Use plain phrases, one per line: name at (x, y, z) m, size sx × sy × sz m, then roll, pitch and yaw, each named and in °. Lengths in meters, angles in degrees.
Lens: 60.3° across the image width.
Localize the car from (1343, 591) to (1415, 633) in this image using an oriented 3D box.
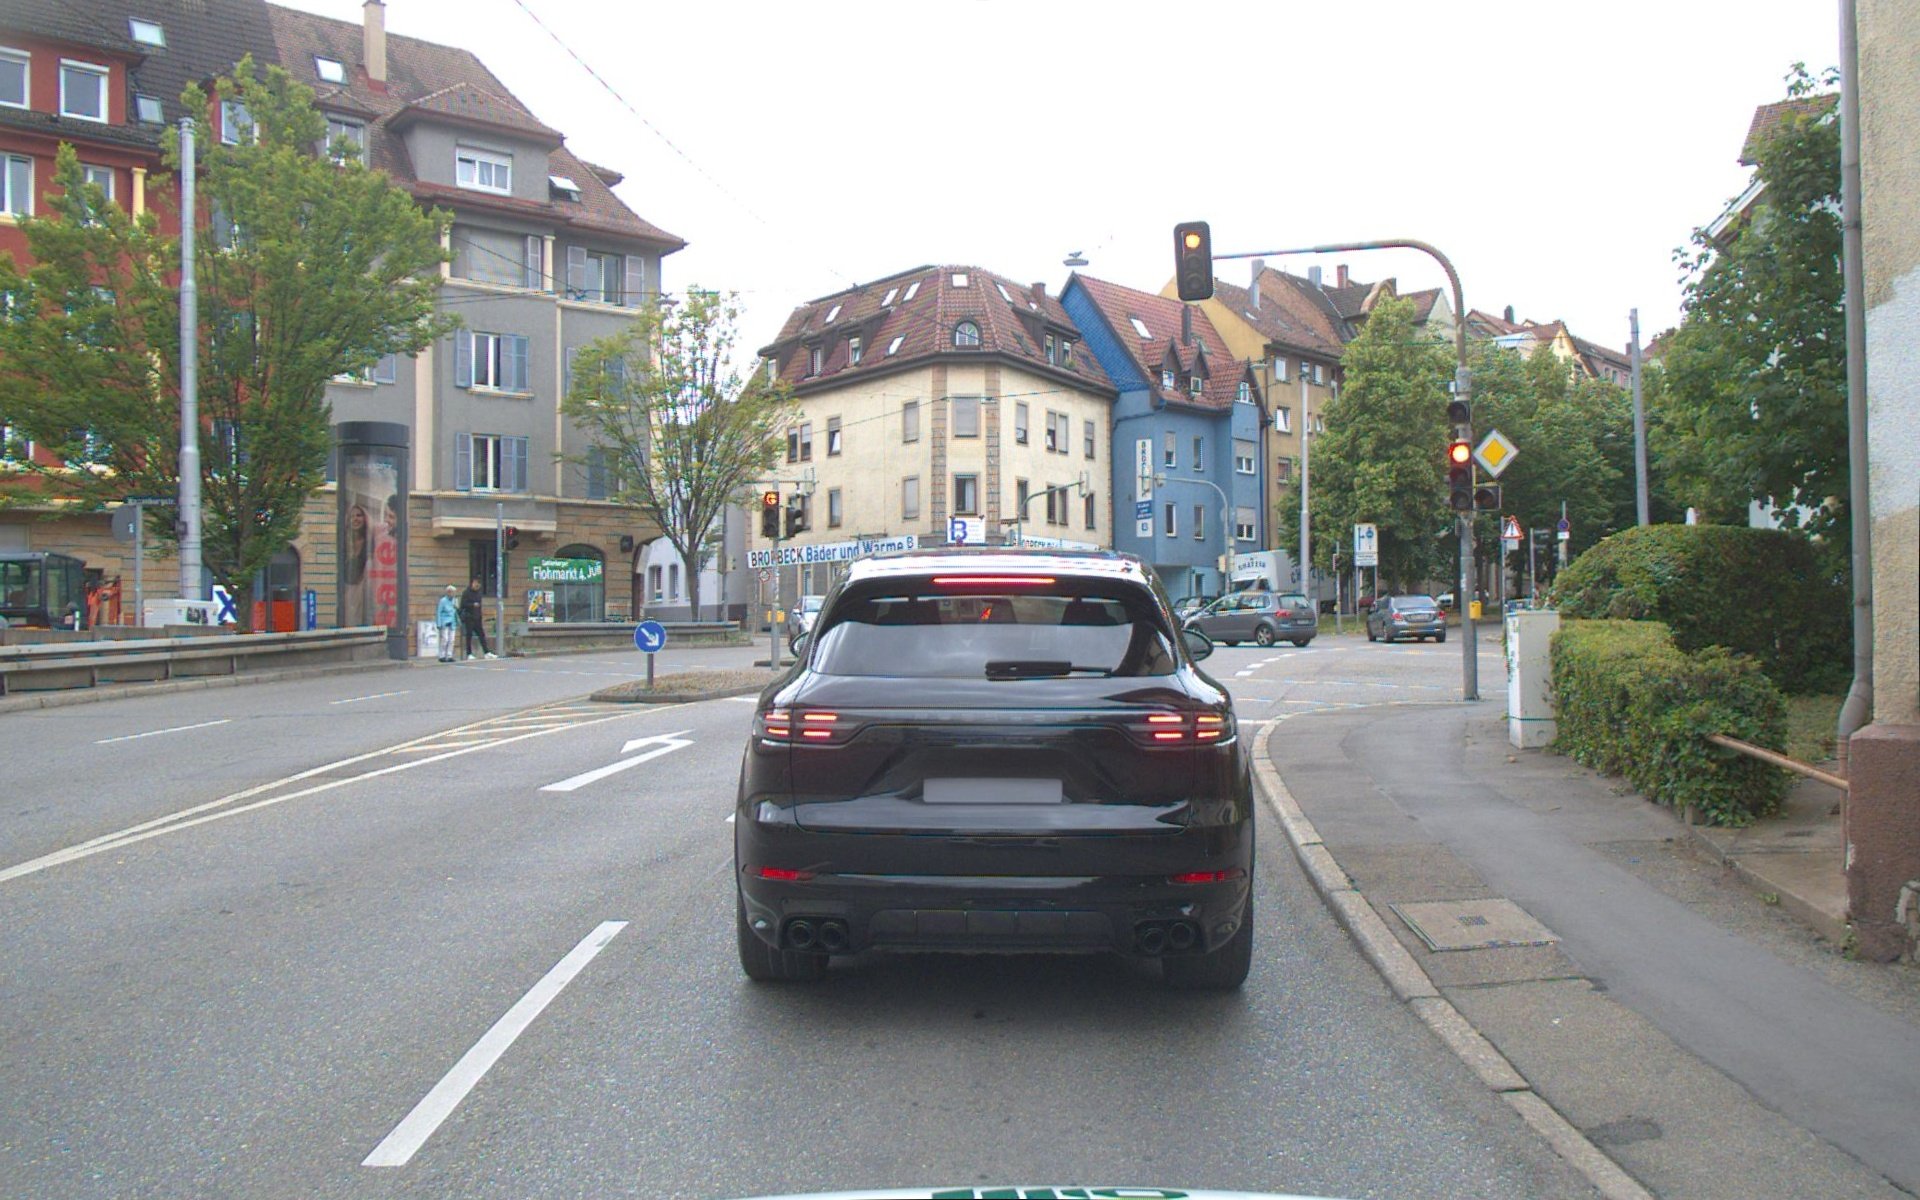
car at (21.918, 0.637, 86.462) m, size 1.965 × 2.049 × 3.975 m, roll 2°, pitch 0°, yaw 42°

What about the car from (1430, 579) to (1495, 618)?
car at (28.455, -0.095, 93.637) m, size 1.965 × 2.049 × 3.975 m, roll 2°, pitch 0°, yaw 42°

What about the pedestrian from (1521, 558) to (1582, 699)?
pedestrian at (7.972, 0.380, 22.306) m, size 0.577 × 1.851 × 0.529 m, roll 2°, pitch -1°, yaw -1°

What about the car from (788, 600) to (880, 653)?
car at (-3.977, 0.844, 52.925) m, size 1.849 × 1.607 × 3.972 m, roll -1°, pitch -1°, yaw 12°

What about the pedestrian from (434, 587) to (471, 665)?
pedestrian at (-10.689, 0.544, 34.877) m, size 0.577 × 1.594 × 0.486 m, roll 2°, pitch -1°, yaw -1°

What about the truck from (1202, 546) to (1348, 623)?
truck at (15.136, -0.674, 78.964) m, size 2.830 × 3.398 × 8.744 m, roll 2°, pitch 0°, yaw 41°

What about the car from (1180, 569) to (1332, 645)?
car at (8.465, 0.200, 47.489) m, size 1.982 × 2.049 × 3.940 m, roll 2°, pitch -1°, yaw -41°

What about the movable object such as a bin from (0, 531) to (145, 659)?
movable object such as a bin at (-14.172, -0.089, 25.640) m, size 1.870 × 1.802 × 3.986 m, roll 2°, pitch 0°, yaw -14°

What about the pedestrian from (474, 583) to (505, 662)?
pedestrian at (-10.566, 0.506, 37.169) m, size 0.503 × 1.760 × 0.451 m, roll 2°, pitch -1°, yaw 1°

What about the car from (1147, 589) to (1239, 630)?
car at (10.142, 0.413, 71.953) m, size 3.968 × 1.713 × 1.968 m, roll 0°, pitch 0°, yaw -43°

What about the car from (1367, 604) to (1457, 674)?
car at (14.048, 1.214, 51.598) m, size 1.951 × 2.049 × 4.002 m, roll 1°, pitch -1°, yaw 5°

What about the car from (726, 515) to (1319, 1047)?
car at (0.094, 0.558, 7.386) m, size 1.939 × 1.713 × 3.997 m, roll 0°, pitch 1°, yaw -4°

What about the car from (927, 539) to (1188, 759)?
car at (1.034, 0.385, 15.065) m, size 1.951 × 1.713 × 4.003 m, roll 0°, pitch 0°, yaw 10°

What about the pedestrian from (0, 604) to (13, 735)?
pedestrian at (-13.284, 0.935, 22.557) m, size 0.537 × 1.760 × 0.586 m, roll 2°, pitch -1°, yaw -35°
